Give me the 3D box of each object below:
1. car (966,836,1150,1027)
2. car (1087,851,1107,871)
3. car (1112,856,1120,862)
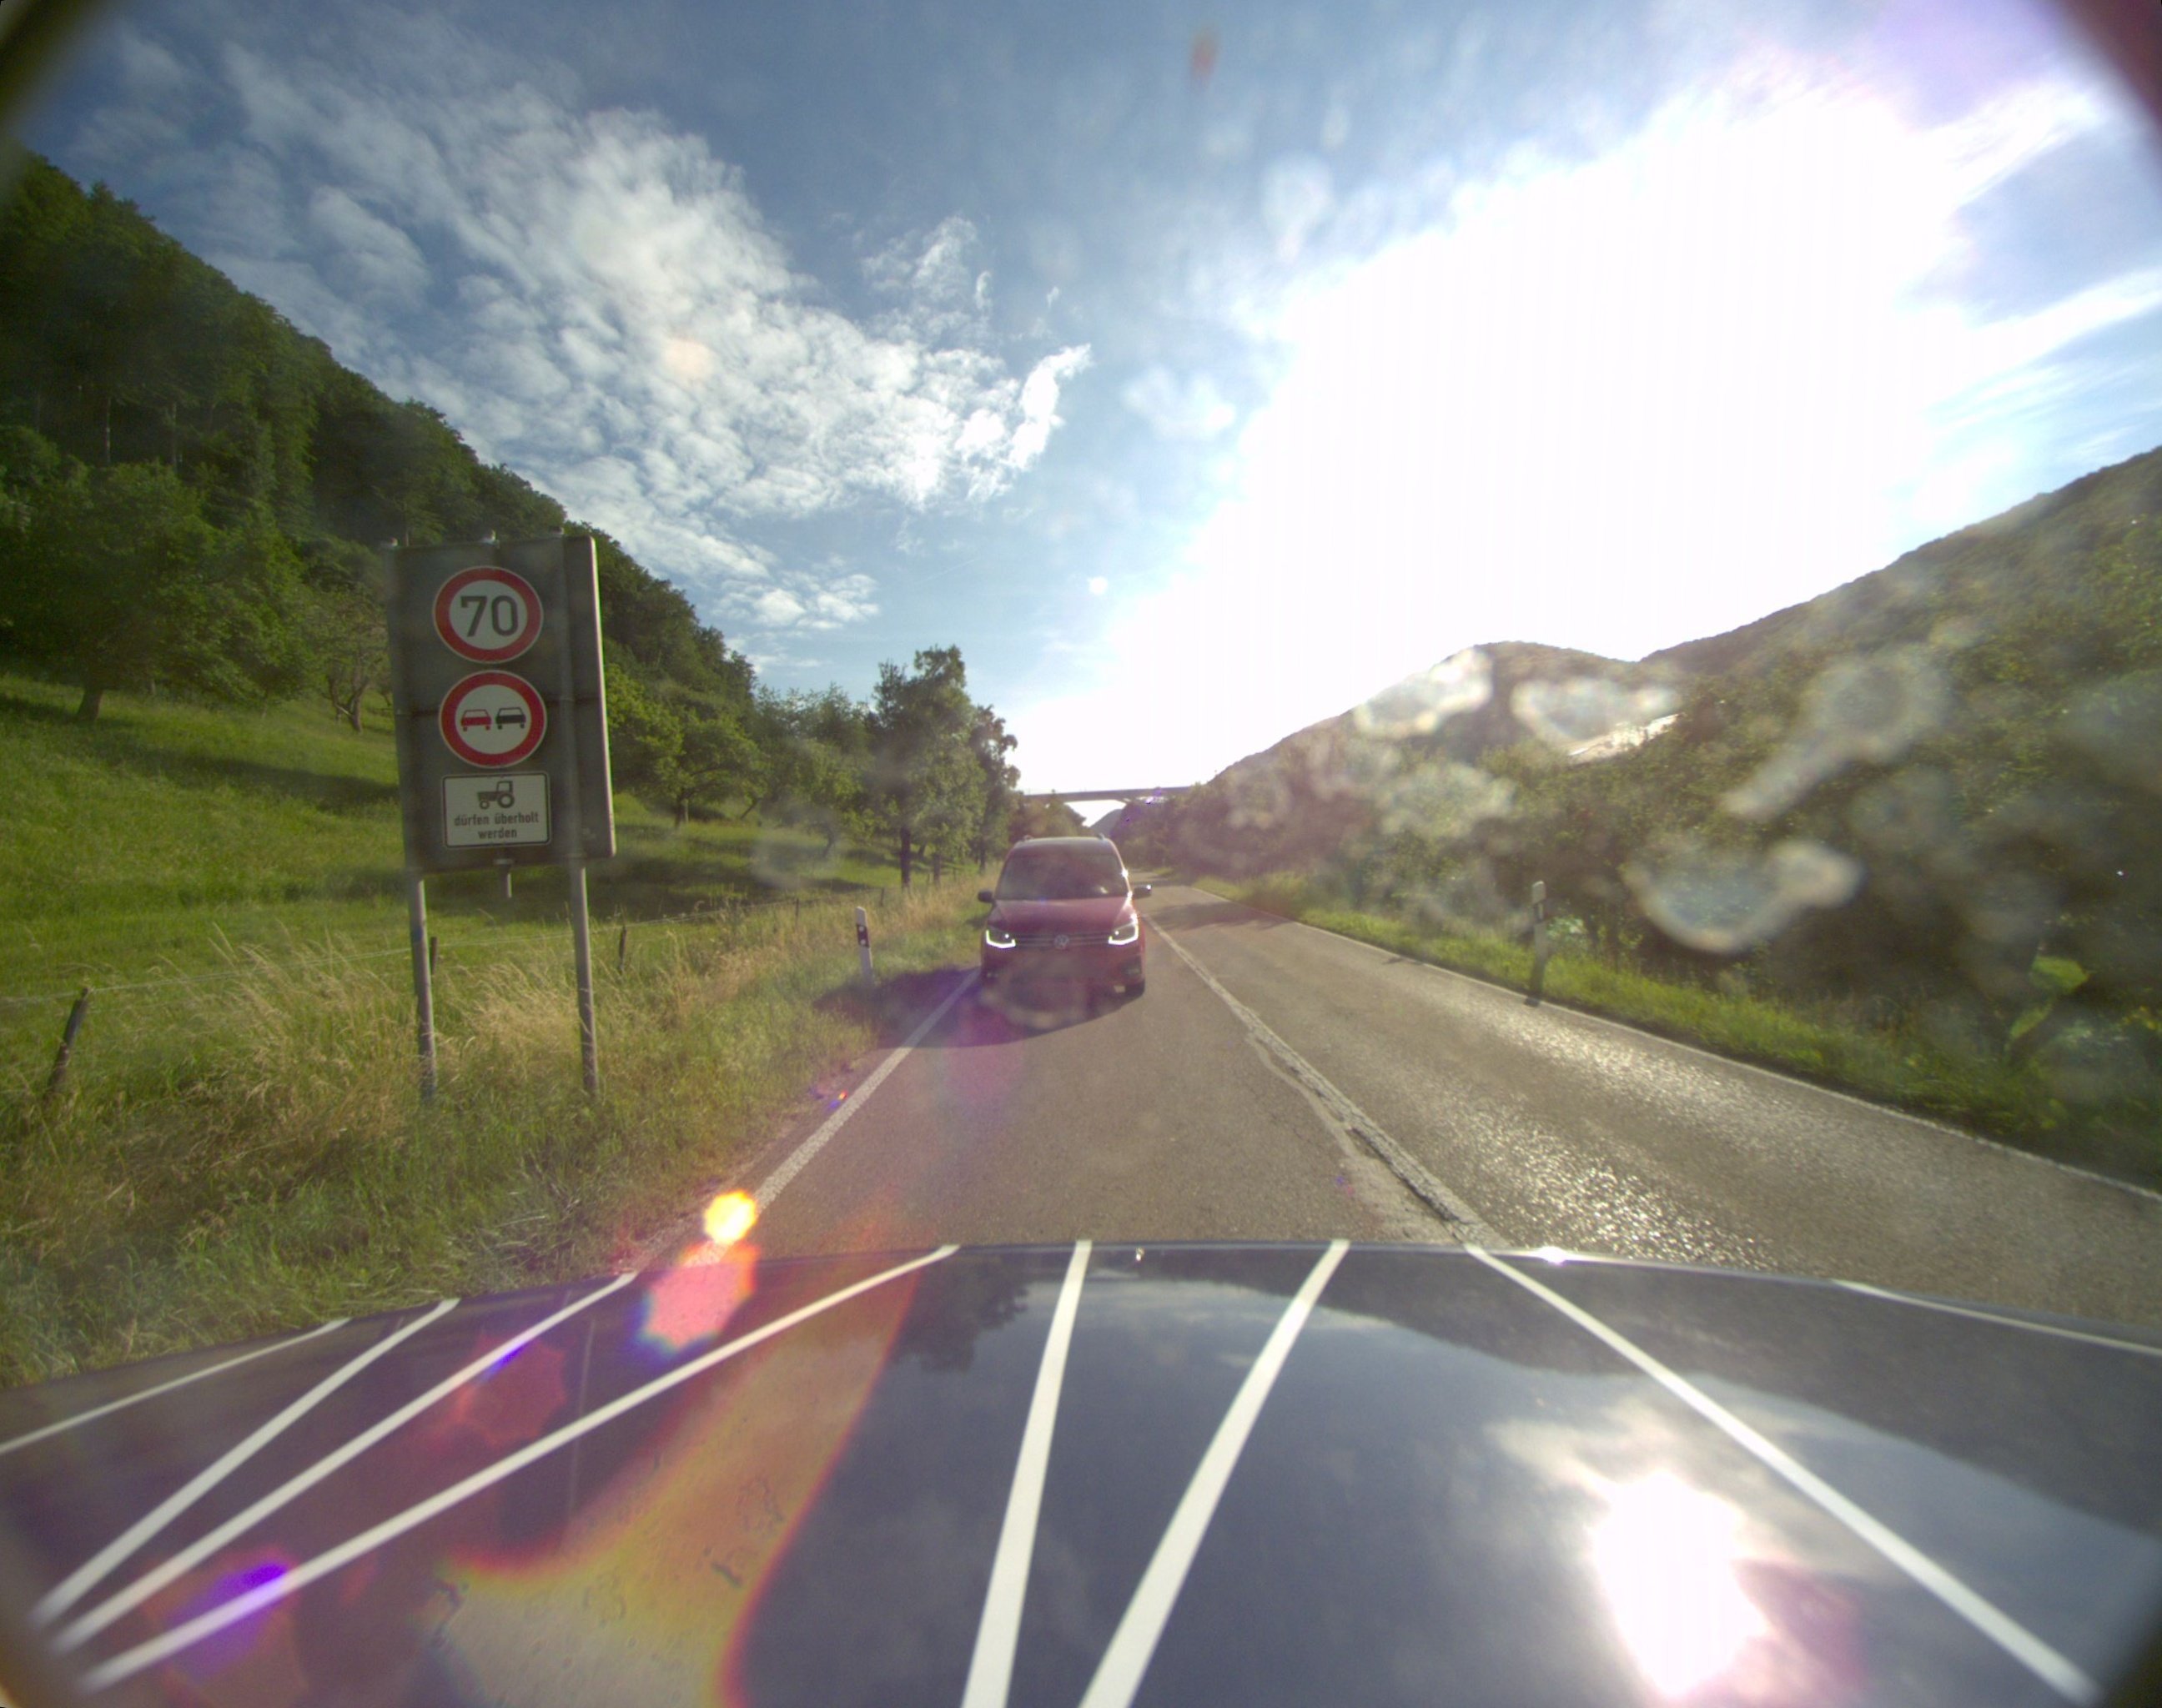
[{"bbox_3d":[-0.238,0.747,9.333,1.741,1.803,4.000,-1,0,-1],"label":"car"},{"bbox_3d":[1.676,0.695,80.019,1.998,2.002,3.999,-2,1,1],"label":"car"},{"bbox_3d":[7.834,1.101,169.274,1.696,1.401,3.663,-1,1,1],"label":"car"}]
